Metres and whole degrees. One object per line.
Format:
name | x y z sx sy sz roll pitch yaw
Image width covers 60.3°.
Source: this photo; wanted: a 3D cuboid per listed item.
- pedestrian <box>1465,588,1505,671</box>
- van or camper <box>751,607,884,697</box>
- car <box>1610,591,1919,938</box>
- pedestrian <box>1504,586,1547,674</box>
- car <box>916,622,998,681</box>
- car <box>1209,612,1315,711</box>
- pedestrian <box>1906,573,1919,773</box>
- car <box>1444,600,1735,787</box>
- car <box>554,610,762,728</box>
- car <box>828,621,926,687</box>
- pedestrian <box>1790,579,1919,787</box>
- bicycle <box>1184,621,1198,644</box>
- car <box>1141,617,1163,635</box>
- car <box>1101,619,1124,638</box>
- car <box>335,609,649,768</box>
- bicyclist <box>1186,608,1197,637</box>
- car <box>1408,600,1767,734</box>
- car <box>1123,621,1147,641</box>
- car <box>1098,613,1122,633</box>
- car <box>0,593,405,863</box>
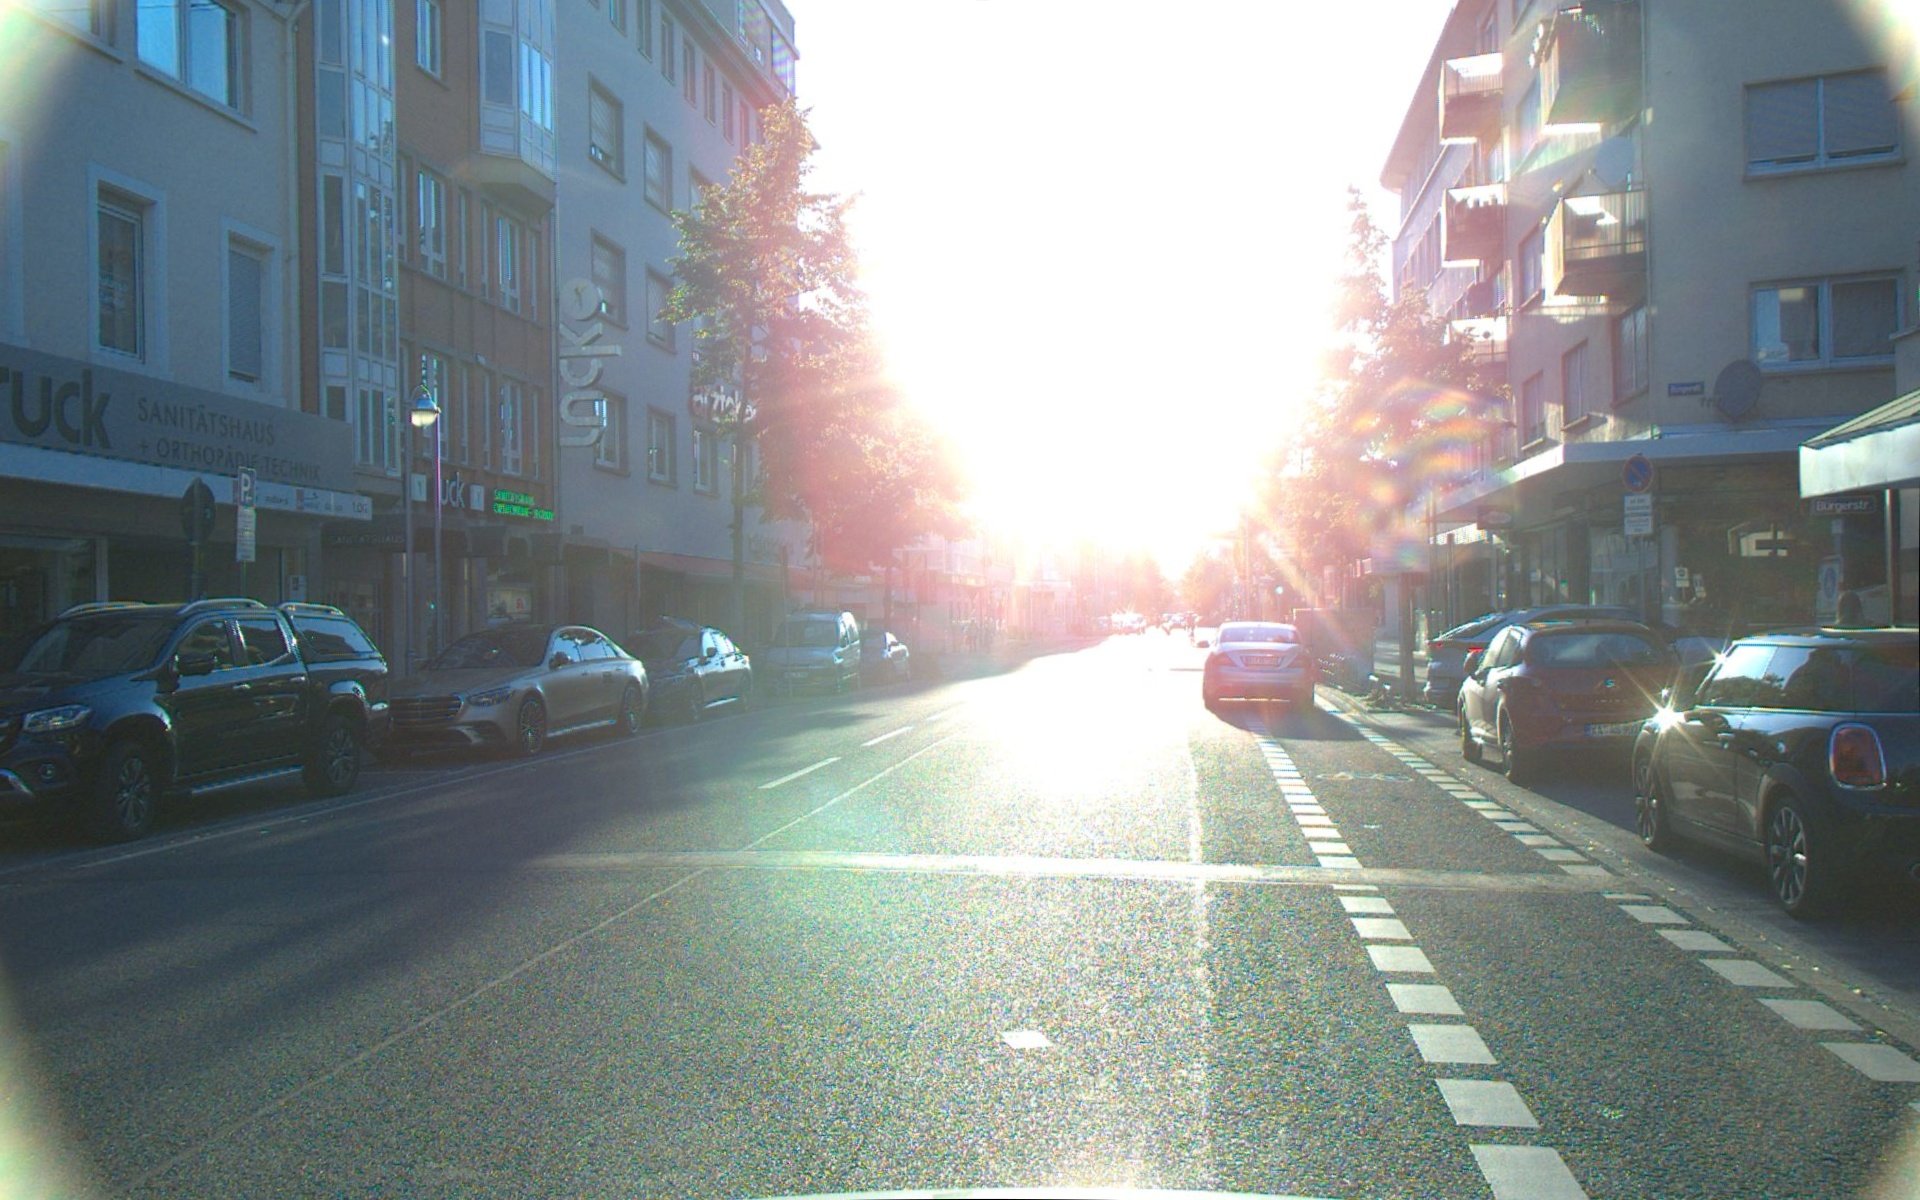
pedestrian | 11.725 0.651 36.947 0.702 1.823 0.667 -2 -1 9
van or camper | -3.021 1.071 35.972 1.750 1.805 4.562 -1 0 10
car | 5.191 0.761 9.485 1.751 1.608 3.789 -1 0 6
pedestrian | 11.981 0.635 35.059 0.702 1.823 0.667 -2 -1 9
car | -0.036 1.430 46.625 1.653 1.529 3.790 -1 0 10
car | 5.134 0.992 28.246 1.653 1.529 3.790 1 0 10
pedestrian | 8.506 0.621 13.988 0.547 1.730 0.832 -2 -1 8
car | 6.042 0.829 16.326 1.751 1.608 3.789 -1 0 6
car | -4.683 1.024 26.373 1.951 1.684 4.483 -1 -1 7
car | -2.022 1.312 41.342 1.653 1.529 3.790 -1 0 10
pedestrian | 7.767 0.702 14.393 0.616 1.730 1.041 -2 -1 8
bicycle | 13.078 1.839 93.456 0.649 1.264 2.132 1 0 11
car | 16.382 2.218 141.122 1.653 1.529 3.790 -1 0 10
car | 12.770 2.367 138.299 1.653 1.529 3.790 -1 0 10
car | -5.600 0.993 20.508 1.951 1.684 4.631 -2 -1 9
bicyclist | 13.074 1.258 93.513 0.535 1.608 0.803 -2 -1 11
car | 8.550 0.892 22.764 4.221 1.727 1.878 1 0 -3
car | 14.155 2.470 133.900 1.653 1.529 3.790 -1 0 10
car | 12.188 1.865 134.138 1.653 1.529 3.790 -1 0 10
car | -6.795 0.912 13.881 1.951 1.808 5.322 -2 -1 6
